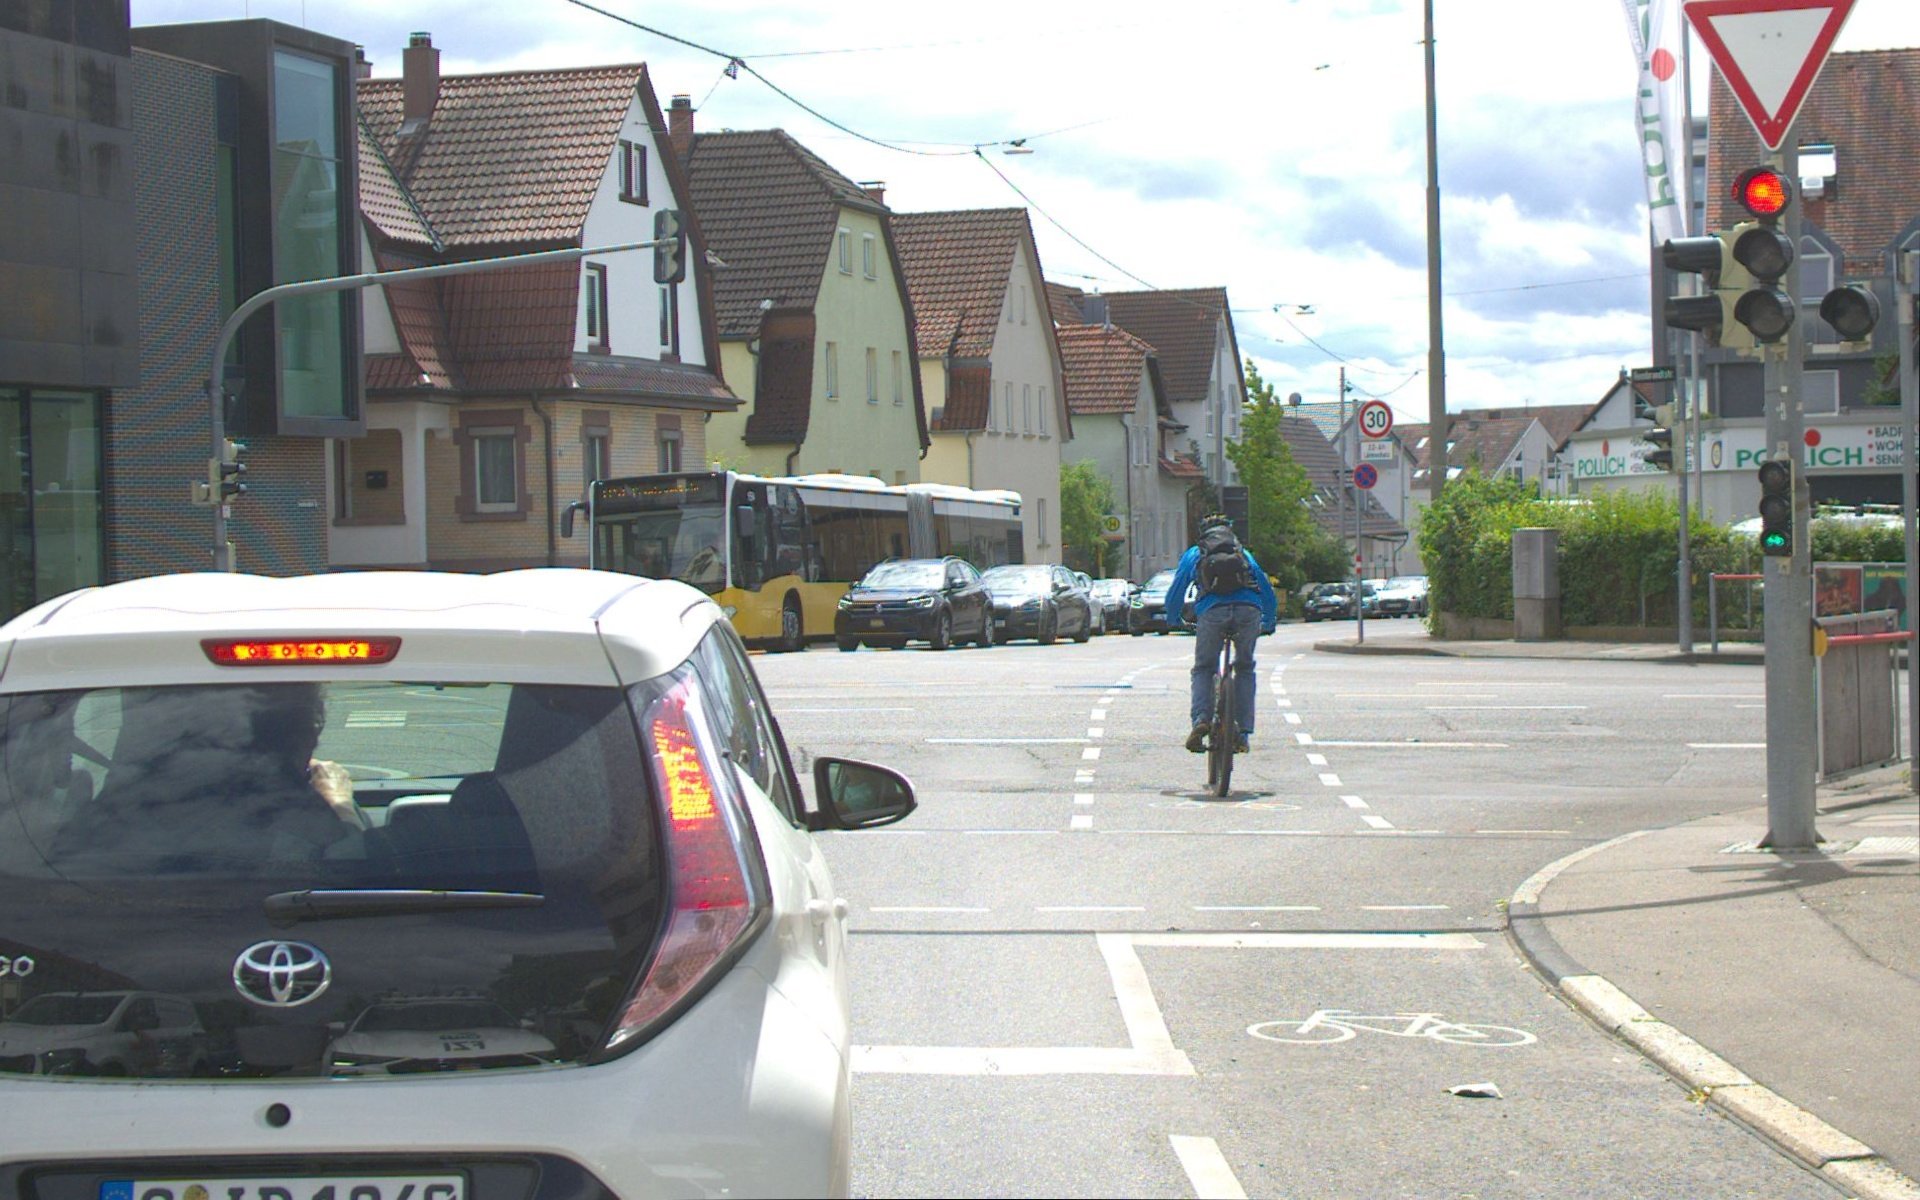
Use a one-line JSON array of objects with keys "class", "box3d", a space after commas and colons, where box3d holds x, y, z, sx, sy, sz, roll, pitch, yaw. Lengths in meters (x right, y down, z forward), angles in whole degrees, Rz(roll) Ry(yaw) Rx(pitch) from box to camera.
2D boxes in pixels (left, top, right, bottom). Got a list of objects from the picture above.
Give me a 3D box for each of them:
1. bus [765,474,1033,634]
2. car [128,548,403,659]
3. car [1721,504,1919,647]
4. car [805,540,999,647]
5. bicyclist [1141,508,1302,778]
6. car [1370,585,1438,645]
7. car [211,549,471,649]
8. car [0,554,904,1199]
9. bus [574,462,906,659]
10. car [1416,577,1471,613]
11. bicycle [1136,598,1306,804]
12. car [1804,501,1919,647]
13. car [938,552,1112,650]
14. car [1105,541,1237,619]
[{"class": "bus", "box3d": [-1.031, -0.918, 67.126, 2.780, 2.904, 9.185, 0, 1, 15]}, {"class": "car", "box3d": [-11.575, 0.040, 57.405, 3.989, 1.634, 1.999, 3, 2, 13]}, {"class": "car", "box3d": [13.212, -0.364, 49.380, 3.986, 2.007, 2.001, 0, 1, -8]}, {"class": "car", "box3d": [-0.885, -0.139, 55.285, 1.995, 1.634, 3.997, 0, 1, 17]}, {"class": "bicyclist", "box3d": [1.615, 0.253, 21.408, 0.840, 1.609, 1.083, 2, 1, -1]}, {"class": "car", "box3d": [15.633, 0.500, 120.871, 1.995, 2.007, 3.998, 0, 1, 13]}, {"class": "car", "box3d": [-10.838, -0.017, 60.283, 3.989, 1.678, 1.999, -1, 1, 14]}, {"class": "car", "box3d": [-1.028, 0.660, 6.414, 1.738, 1.455, 3.533, 0, 1, -3]}, {"class": "bus", "box3d": [-3.523, -0.705, 58.030, 2.780, 3.049, 9.185, 0, 1, 15]}, {"class": "car", "box3d": [22.907, -0.241, 162.770, 1.995, 1.634, 3.997, 0, 1, 17]}, {"class": "bicycle", "box3d": [1.604, 0.599, 21.476, 0.832, 1.160, 2.192, 2, 1, -1]}, {"class": "car", "box3d": [13.833, -0.366, 47.014, 3.986, 1.941, 2.001, 0, 1, -9]}, {"class": "car", "box3d": [1.189, -0.013, 60.457, 1.995, 1.634, 4.180, 0, 1, 17]}, {"class": "car", "box3d": [4.644, -0.467, 75.154, 1.995, 1.634, 3.997, 0, 1, 17]}]
